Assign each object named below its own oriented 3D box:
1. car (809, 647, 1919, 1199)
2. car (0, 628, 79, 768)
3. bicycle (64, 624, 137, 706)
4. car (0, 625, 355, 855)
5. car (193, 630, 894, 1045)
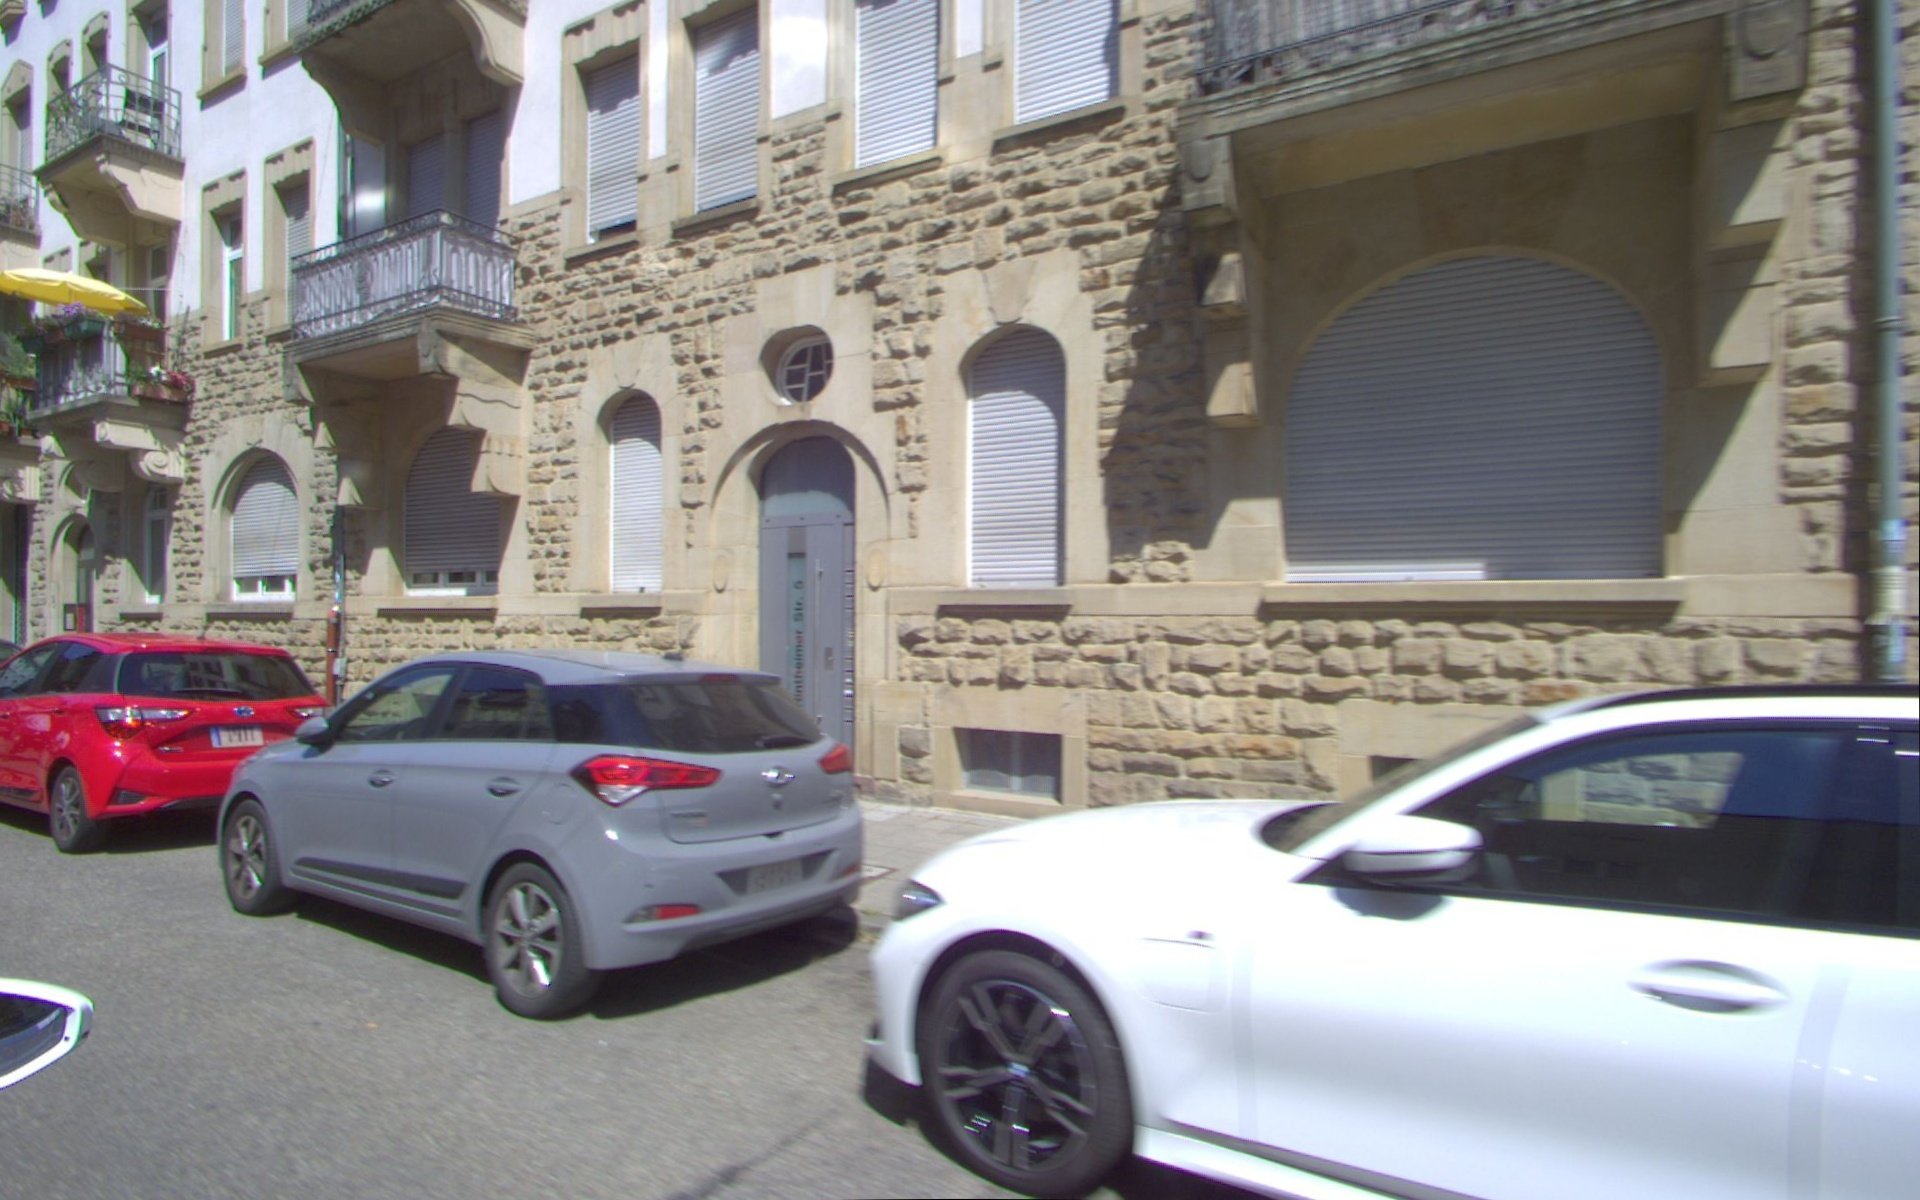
[{"bbox_3d":[1.897,0.918,2.597,4.533,1.470,1.714,-1,-3,34],"label":"car"},{"bbox_3d":[-11.493,0.982,10.936,3.912,1.415,1.513,0,-5,29],"label":"car"},{"bbox_3d":[-13.555,1.000,15.785,1.750,1.223,0.383,0,0,33],"label":"bicycle"},{"bbox_3d":[-6.790,0.971,8.153,3.786,1.470,1.569,0,-3,31],"label":"car"},{"bbox_3d":[-2.359,0.940,5.371,3.802,1.470,1.587,0,-3,33],"label":"car"}]
